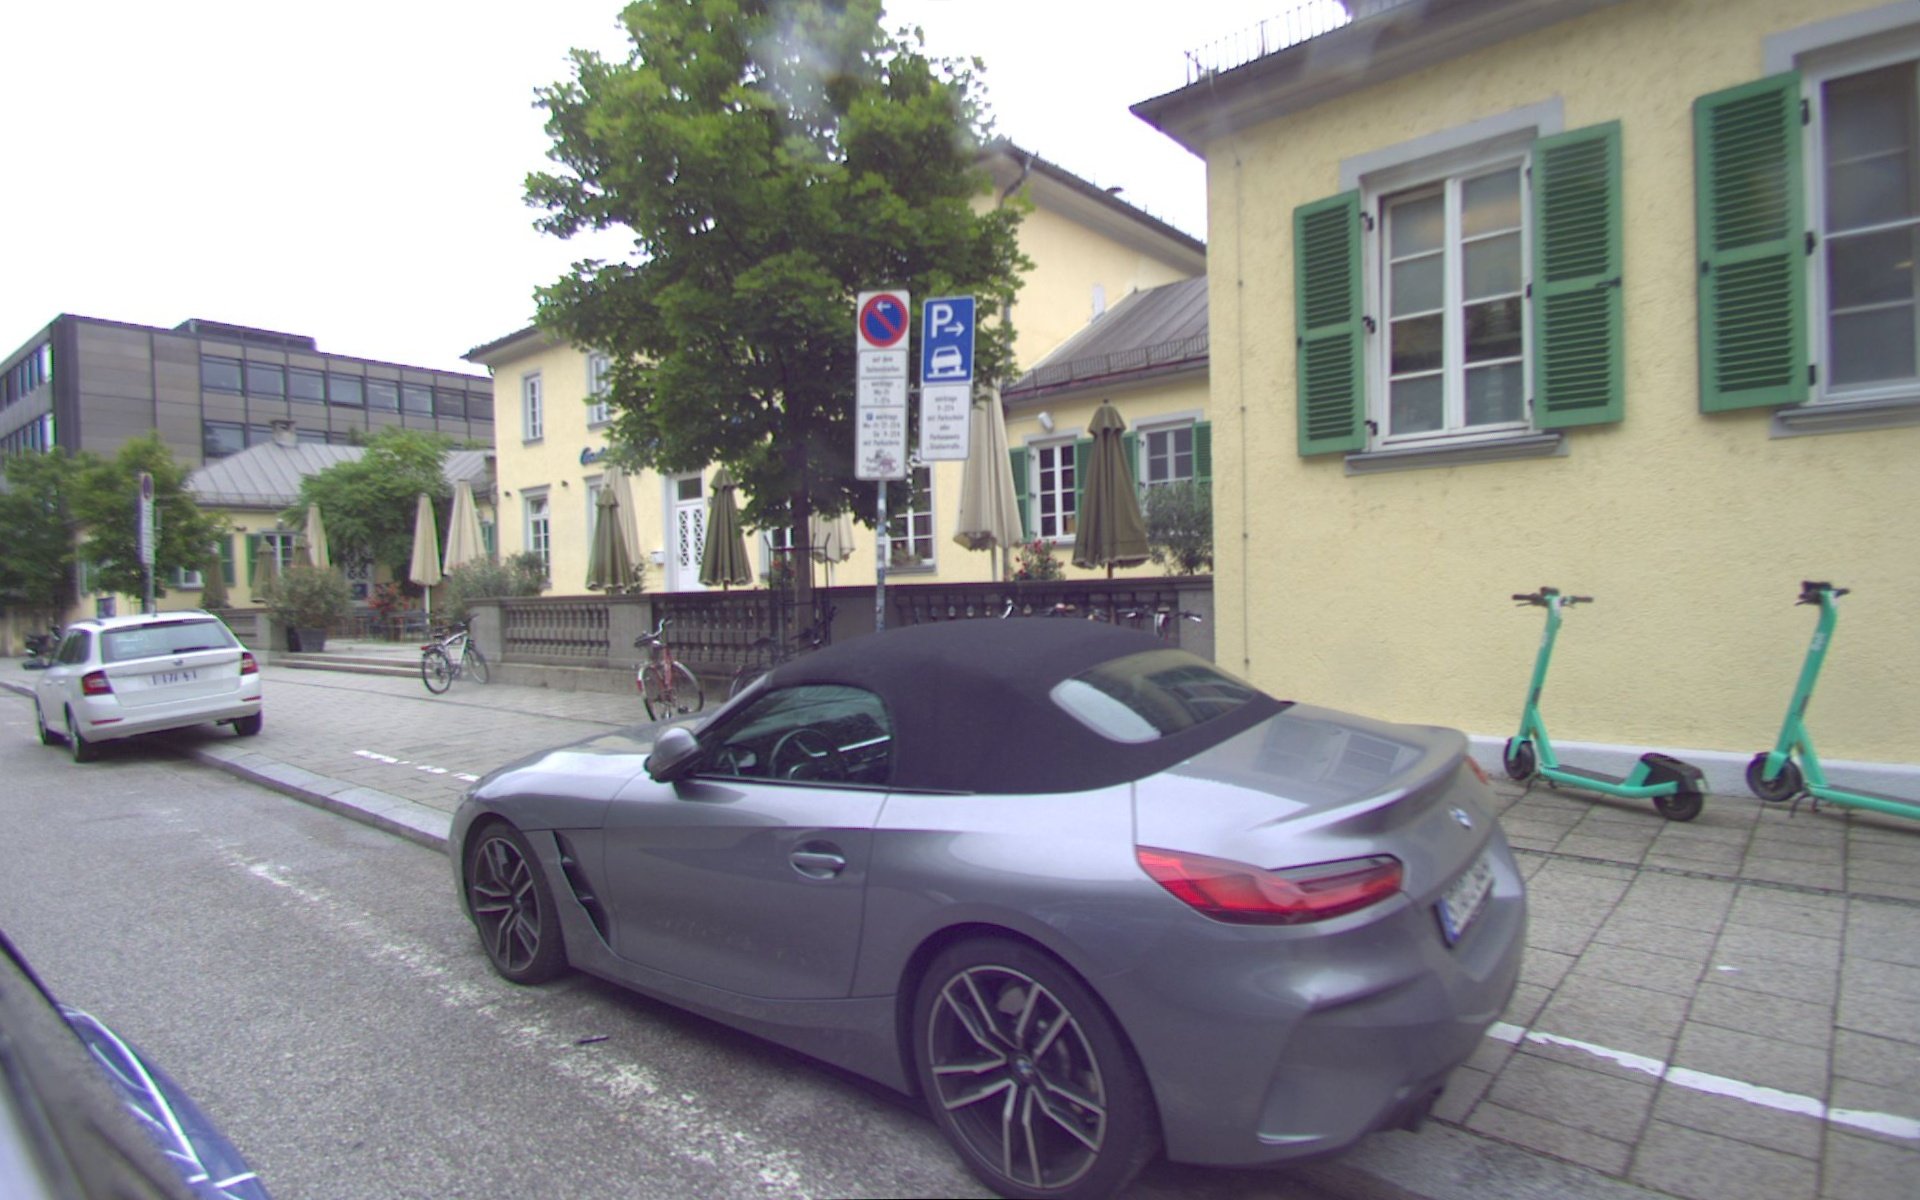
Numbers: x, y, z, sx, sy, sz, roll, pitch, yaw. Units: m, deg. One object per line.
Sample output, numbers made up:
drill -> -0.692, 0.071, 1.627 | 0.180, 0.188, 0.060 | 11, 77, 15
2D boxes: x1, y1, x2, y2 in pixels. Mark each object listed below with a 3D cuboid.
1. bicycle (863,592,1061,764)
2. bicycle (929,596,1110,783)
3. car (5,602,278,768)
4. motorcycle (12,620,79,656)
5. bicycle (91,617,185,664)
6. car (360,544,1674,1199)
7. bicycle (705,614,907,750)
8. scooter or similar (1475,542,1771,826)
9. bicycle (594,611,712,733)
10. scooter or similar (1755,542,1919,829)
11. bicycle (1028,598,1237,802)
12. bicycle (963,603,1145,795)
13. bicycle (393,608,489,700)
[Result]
bicycle -> 0.053, 0.558, 7.955 | 1.608, 1.182, 0.467 | -3, 1, -41
bicycle -> 0.484, 0.589, 7.376 | 0.352, 1.180, 1.684 | -1, 1, 40
car -> -9.638, 0.846, 11.784 | 4.460, 1.503, 1.707 | -1, 2, 42
motorcycle -> -32.874, 1.346, 36.392 | 1.641, 1.120, 0.591 | -4, 3, -8
bicycle -> -22.329, 1.083, 27.520 | 0.466, 1.042, 1.825 | -2, 5, 40
car -> -0.262, 0.685, 3.773 | 4.650, 1.530, 1.878 | -1, 2, 39
bicycle -> -1.378, 0.703, 9.255 | 1.703, 1.035, 0.645 | -4, 1, -42
scooter or similar -> 3.549, 0.401, 5.539 | 0.370, 1.353, 1.357 | -2, 0, -22
bicycle -> -3.083, 0.683, 10.316 | 0.629, 1.096, 1.633 | -2, 0, 2
scooter or similar -> 4.563, 0.389, 4.750 | 0.358, 1.324, 1.257 | -2, 0, -24
bicycle -> 1.187, 0.600, 6.777 | 0.642, 1.157, 1.474 | -1, 1, 43
bicycle -> 0.697, 0.624, 7.047 | 0.387, 1.145, 1.612 | -1, 1, 40
bicycle -> -7.704, 0.770, 15.090 | 0.563, 1.271, 1.568 | -2, 0, 2
